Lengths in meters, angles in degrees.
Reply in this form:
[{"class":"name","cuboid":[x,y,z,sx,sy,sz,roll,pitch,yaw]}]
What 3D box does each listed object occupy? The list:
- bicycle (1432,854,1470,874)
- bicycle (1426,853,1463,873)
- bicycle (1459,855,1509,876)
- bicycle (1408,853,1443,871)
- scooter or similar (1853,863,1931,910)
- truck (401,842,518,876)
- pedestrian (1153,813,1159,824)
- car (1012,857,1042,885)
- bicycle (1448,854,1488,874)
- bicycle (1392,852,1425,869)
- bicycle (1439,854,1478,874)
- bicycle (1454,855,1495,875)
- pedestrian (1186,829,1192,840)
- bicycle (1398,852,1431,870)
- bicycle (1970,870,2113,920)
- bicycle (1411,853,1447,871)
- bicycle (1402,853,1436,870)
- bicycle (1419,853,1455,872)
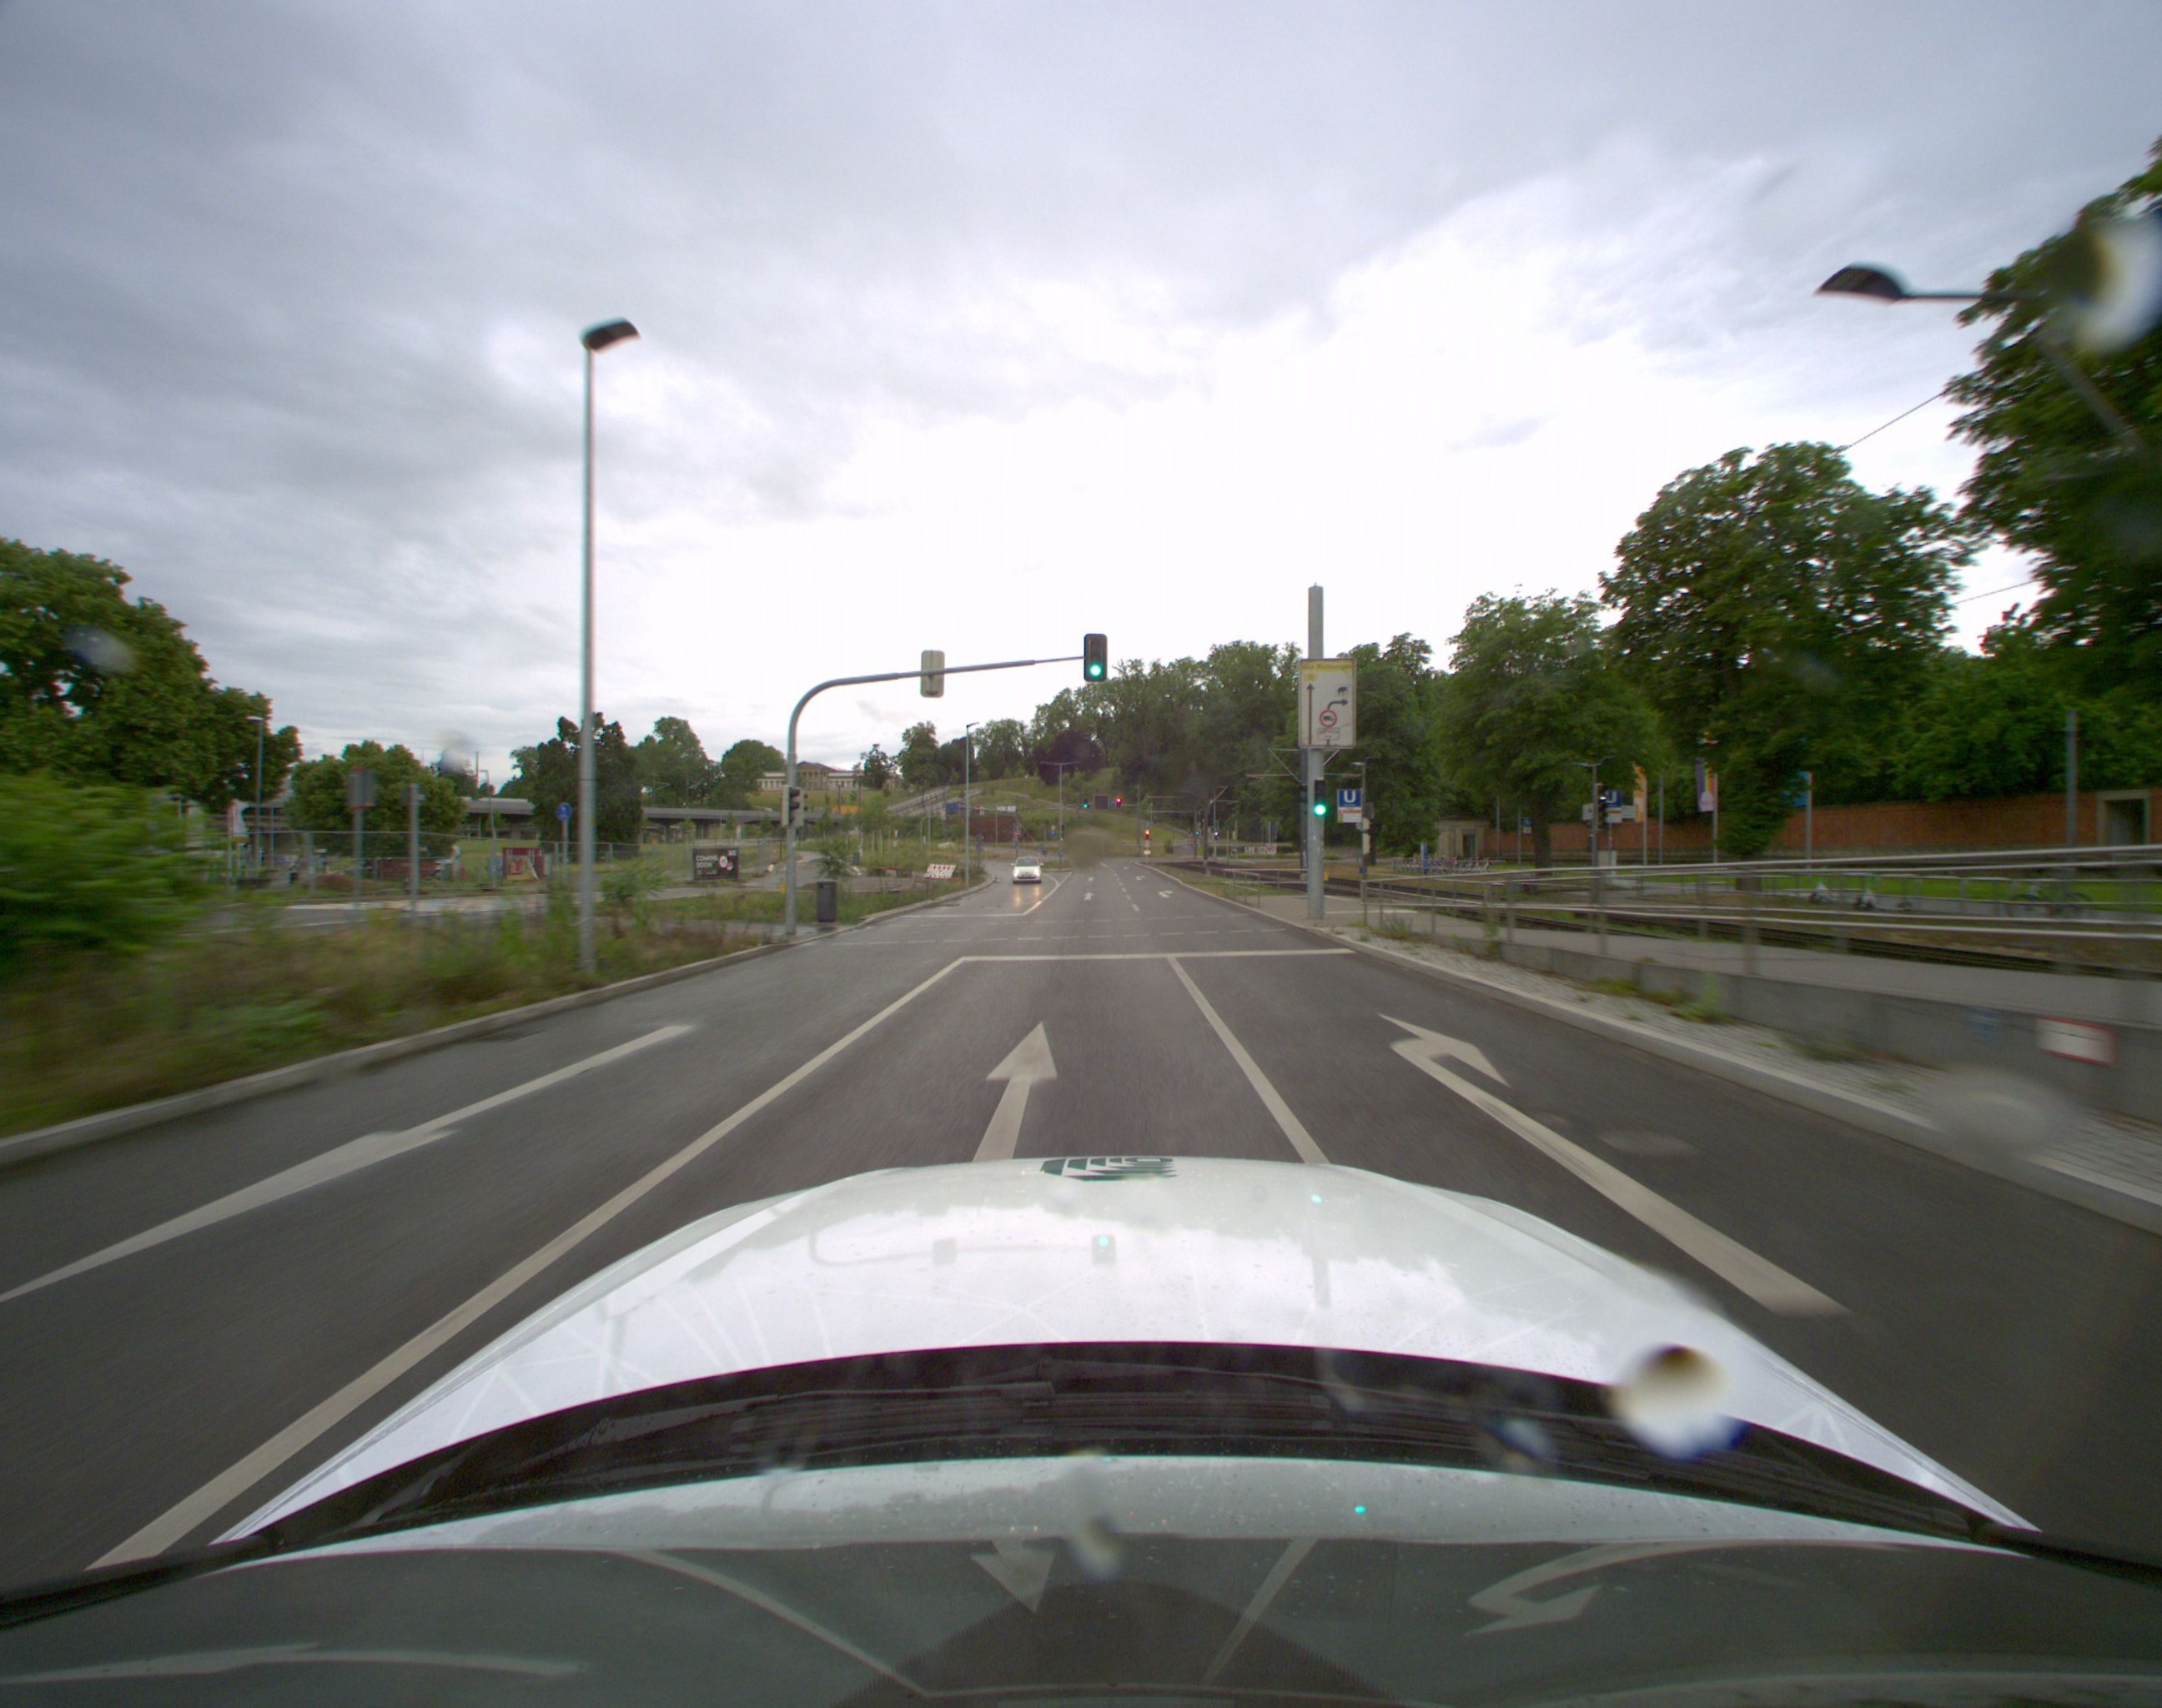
[{"class":"bicycle","cuboid":[20.435,0.535,45.012,1.805,1.032,0.652,-1,1,-1]},{"class":"bicycle","cuboid":[20.464,0.507,45.823,1.805,1.034,0.652,-1,1,-1]},{"class":"bicycle","cuboid":[20.602,0.588,41.657,2.216,1.032,0.689,-1,1,-1]},{"class":"bicycle","cuboid":[20.604,0.463,48.722,1.805,1.032,0.652,-1,1,-1]},{"class":"scooter or similar","cuboid":[20.314,0.810,20.401,1.538,1.136,0.431,-1,0,-1]},{"class":"truck","cuboid":[-54.021,0.400,71.043,7.998,2.802,2.397,-1,1,-37]},{"class":"pedestrian","cuboid":[14.286,-6.798,154.953,0.789,2.012,0.654,-4,7,-15]},{"class":"car","cuboid":[-3.104,0.940,47.242,1.583,1.491,3.710,-2,0,-3]},{"class":"bicycle","cuboid":[20.641,0.545,43.448,1.805,1.032,0.652,-1,1,-1]},{"class":"bicycle","cuboid":[20.644,0.425,51.370,1.805,1.032,0.652,-1,1,-1]},{"class":"bicycle","cuboid":[20.534,0.533,44.275,1.841,1.032,0.652,-1,1,-1]},{"class":"bicycle","cuboid":[20.599,0.568,42.635,1.805,1.032,0.652,-1,1,-1]},{"class":"pedestrian","cuboid":[17.605,-3.179,132.863,0.952,1.781,1.125,2,2,8]},{"class":"bicycle","cuboid":[20.674,0.437,50.488,1.805,1.032,0.652,-1,1,-1]},{"class":"bicycle","cuboid":[19.817,0.841,16.817,2.314,0.957,0.570,-1,0,-1]},{"class":"bicycle","cuboid":[20.522,0.478,48.033,1.829,1.032,0.652,-1,1,-1]},{"class":"bicycle","cuboid":[20.554,0.447,49.569,1.805,1.032,0.652,-1,1,-1]},{"class":"bicycle","cuboid":[20.673,0.485,47.323,1.805,1.032,0.652,-1,1,-1]}]
